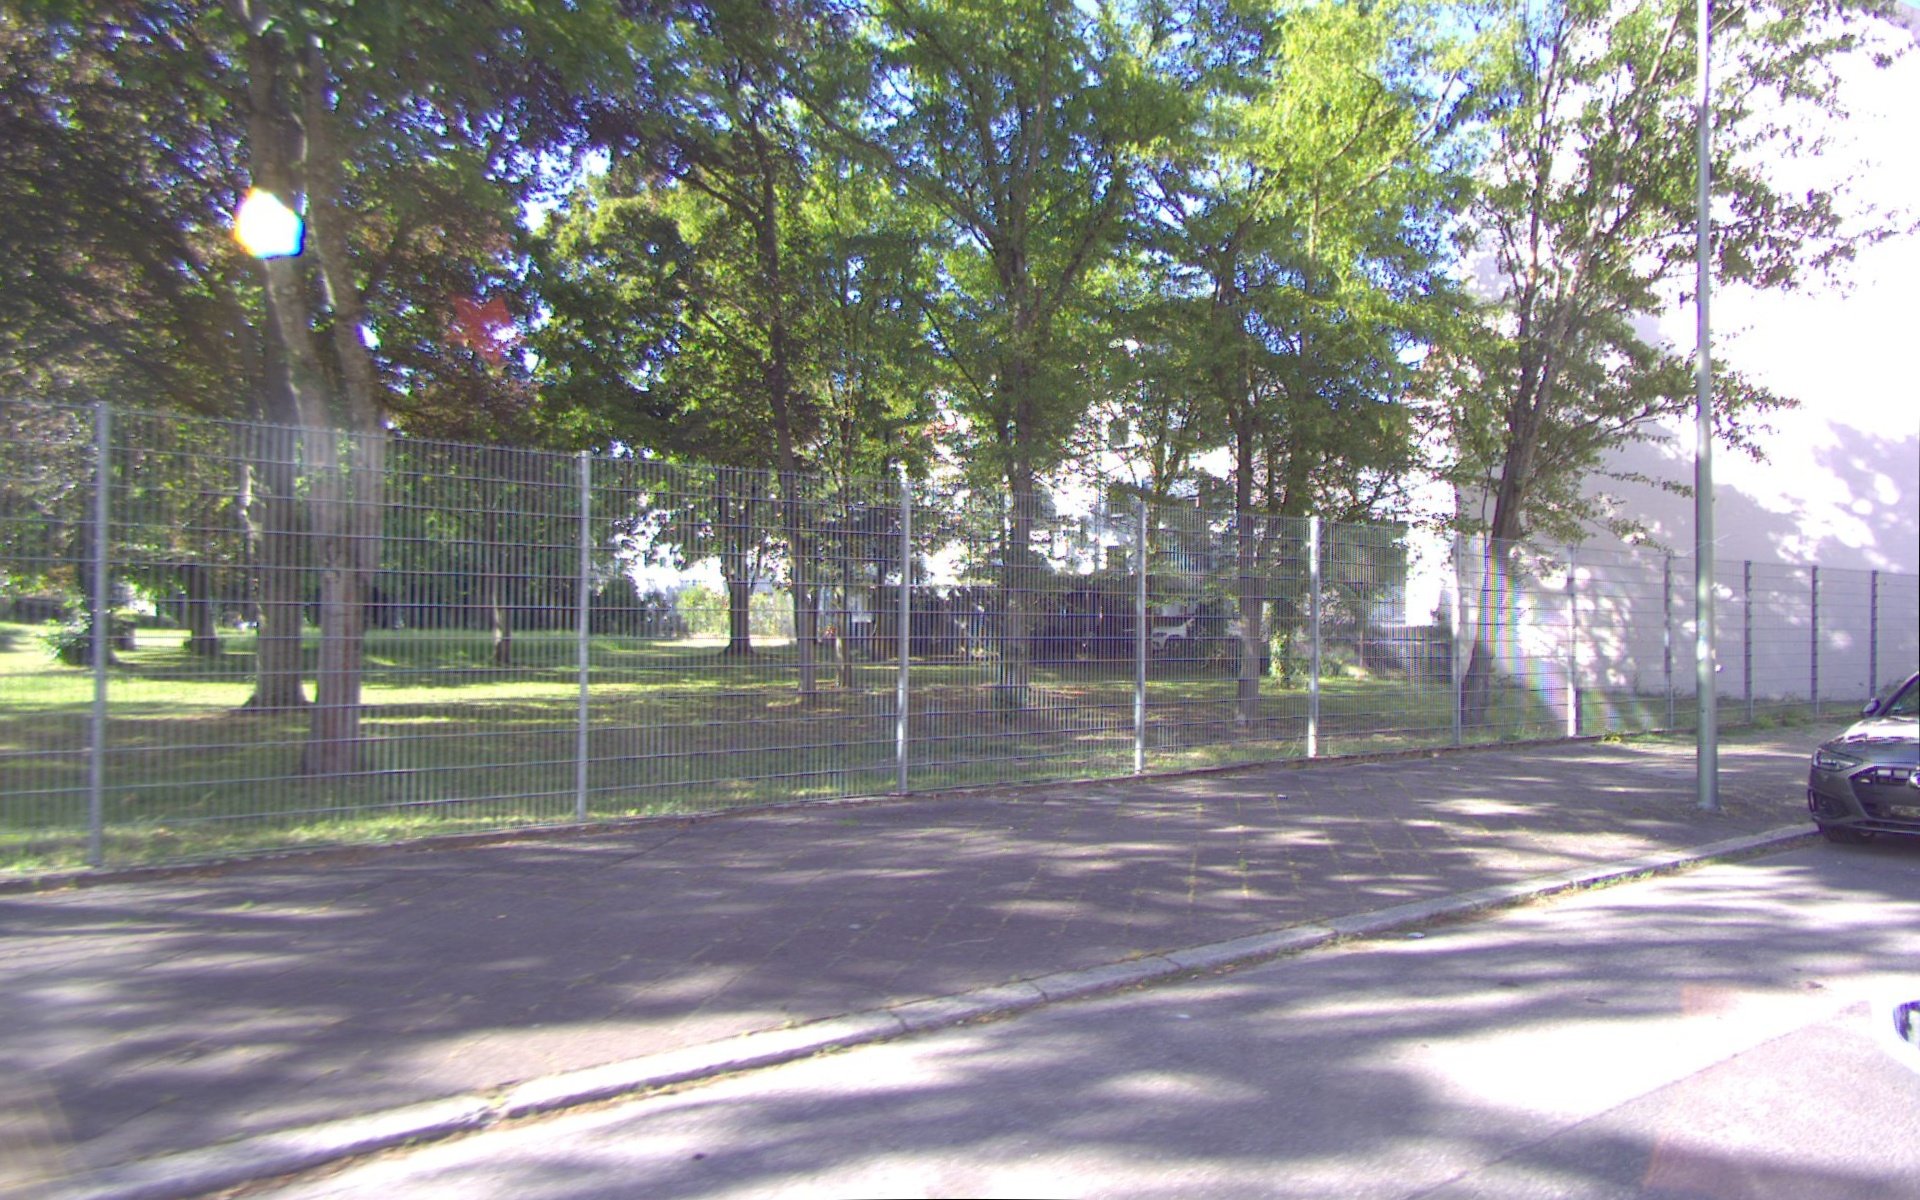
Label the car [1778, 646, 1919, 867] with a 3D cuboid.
[{"bbox_3d":[8.412,1.113,7.857,4.452,1.490,1.784,2,-3,-32],"label":"car"}]
